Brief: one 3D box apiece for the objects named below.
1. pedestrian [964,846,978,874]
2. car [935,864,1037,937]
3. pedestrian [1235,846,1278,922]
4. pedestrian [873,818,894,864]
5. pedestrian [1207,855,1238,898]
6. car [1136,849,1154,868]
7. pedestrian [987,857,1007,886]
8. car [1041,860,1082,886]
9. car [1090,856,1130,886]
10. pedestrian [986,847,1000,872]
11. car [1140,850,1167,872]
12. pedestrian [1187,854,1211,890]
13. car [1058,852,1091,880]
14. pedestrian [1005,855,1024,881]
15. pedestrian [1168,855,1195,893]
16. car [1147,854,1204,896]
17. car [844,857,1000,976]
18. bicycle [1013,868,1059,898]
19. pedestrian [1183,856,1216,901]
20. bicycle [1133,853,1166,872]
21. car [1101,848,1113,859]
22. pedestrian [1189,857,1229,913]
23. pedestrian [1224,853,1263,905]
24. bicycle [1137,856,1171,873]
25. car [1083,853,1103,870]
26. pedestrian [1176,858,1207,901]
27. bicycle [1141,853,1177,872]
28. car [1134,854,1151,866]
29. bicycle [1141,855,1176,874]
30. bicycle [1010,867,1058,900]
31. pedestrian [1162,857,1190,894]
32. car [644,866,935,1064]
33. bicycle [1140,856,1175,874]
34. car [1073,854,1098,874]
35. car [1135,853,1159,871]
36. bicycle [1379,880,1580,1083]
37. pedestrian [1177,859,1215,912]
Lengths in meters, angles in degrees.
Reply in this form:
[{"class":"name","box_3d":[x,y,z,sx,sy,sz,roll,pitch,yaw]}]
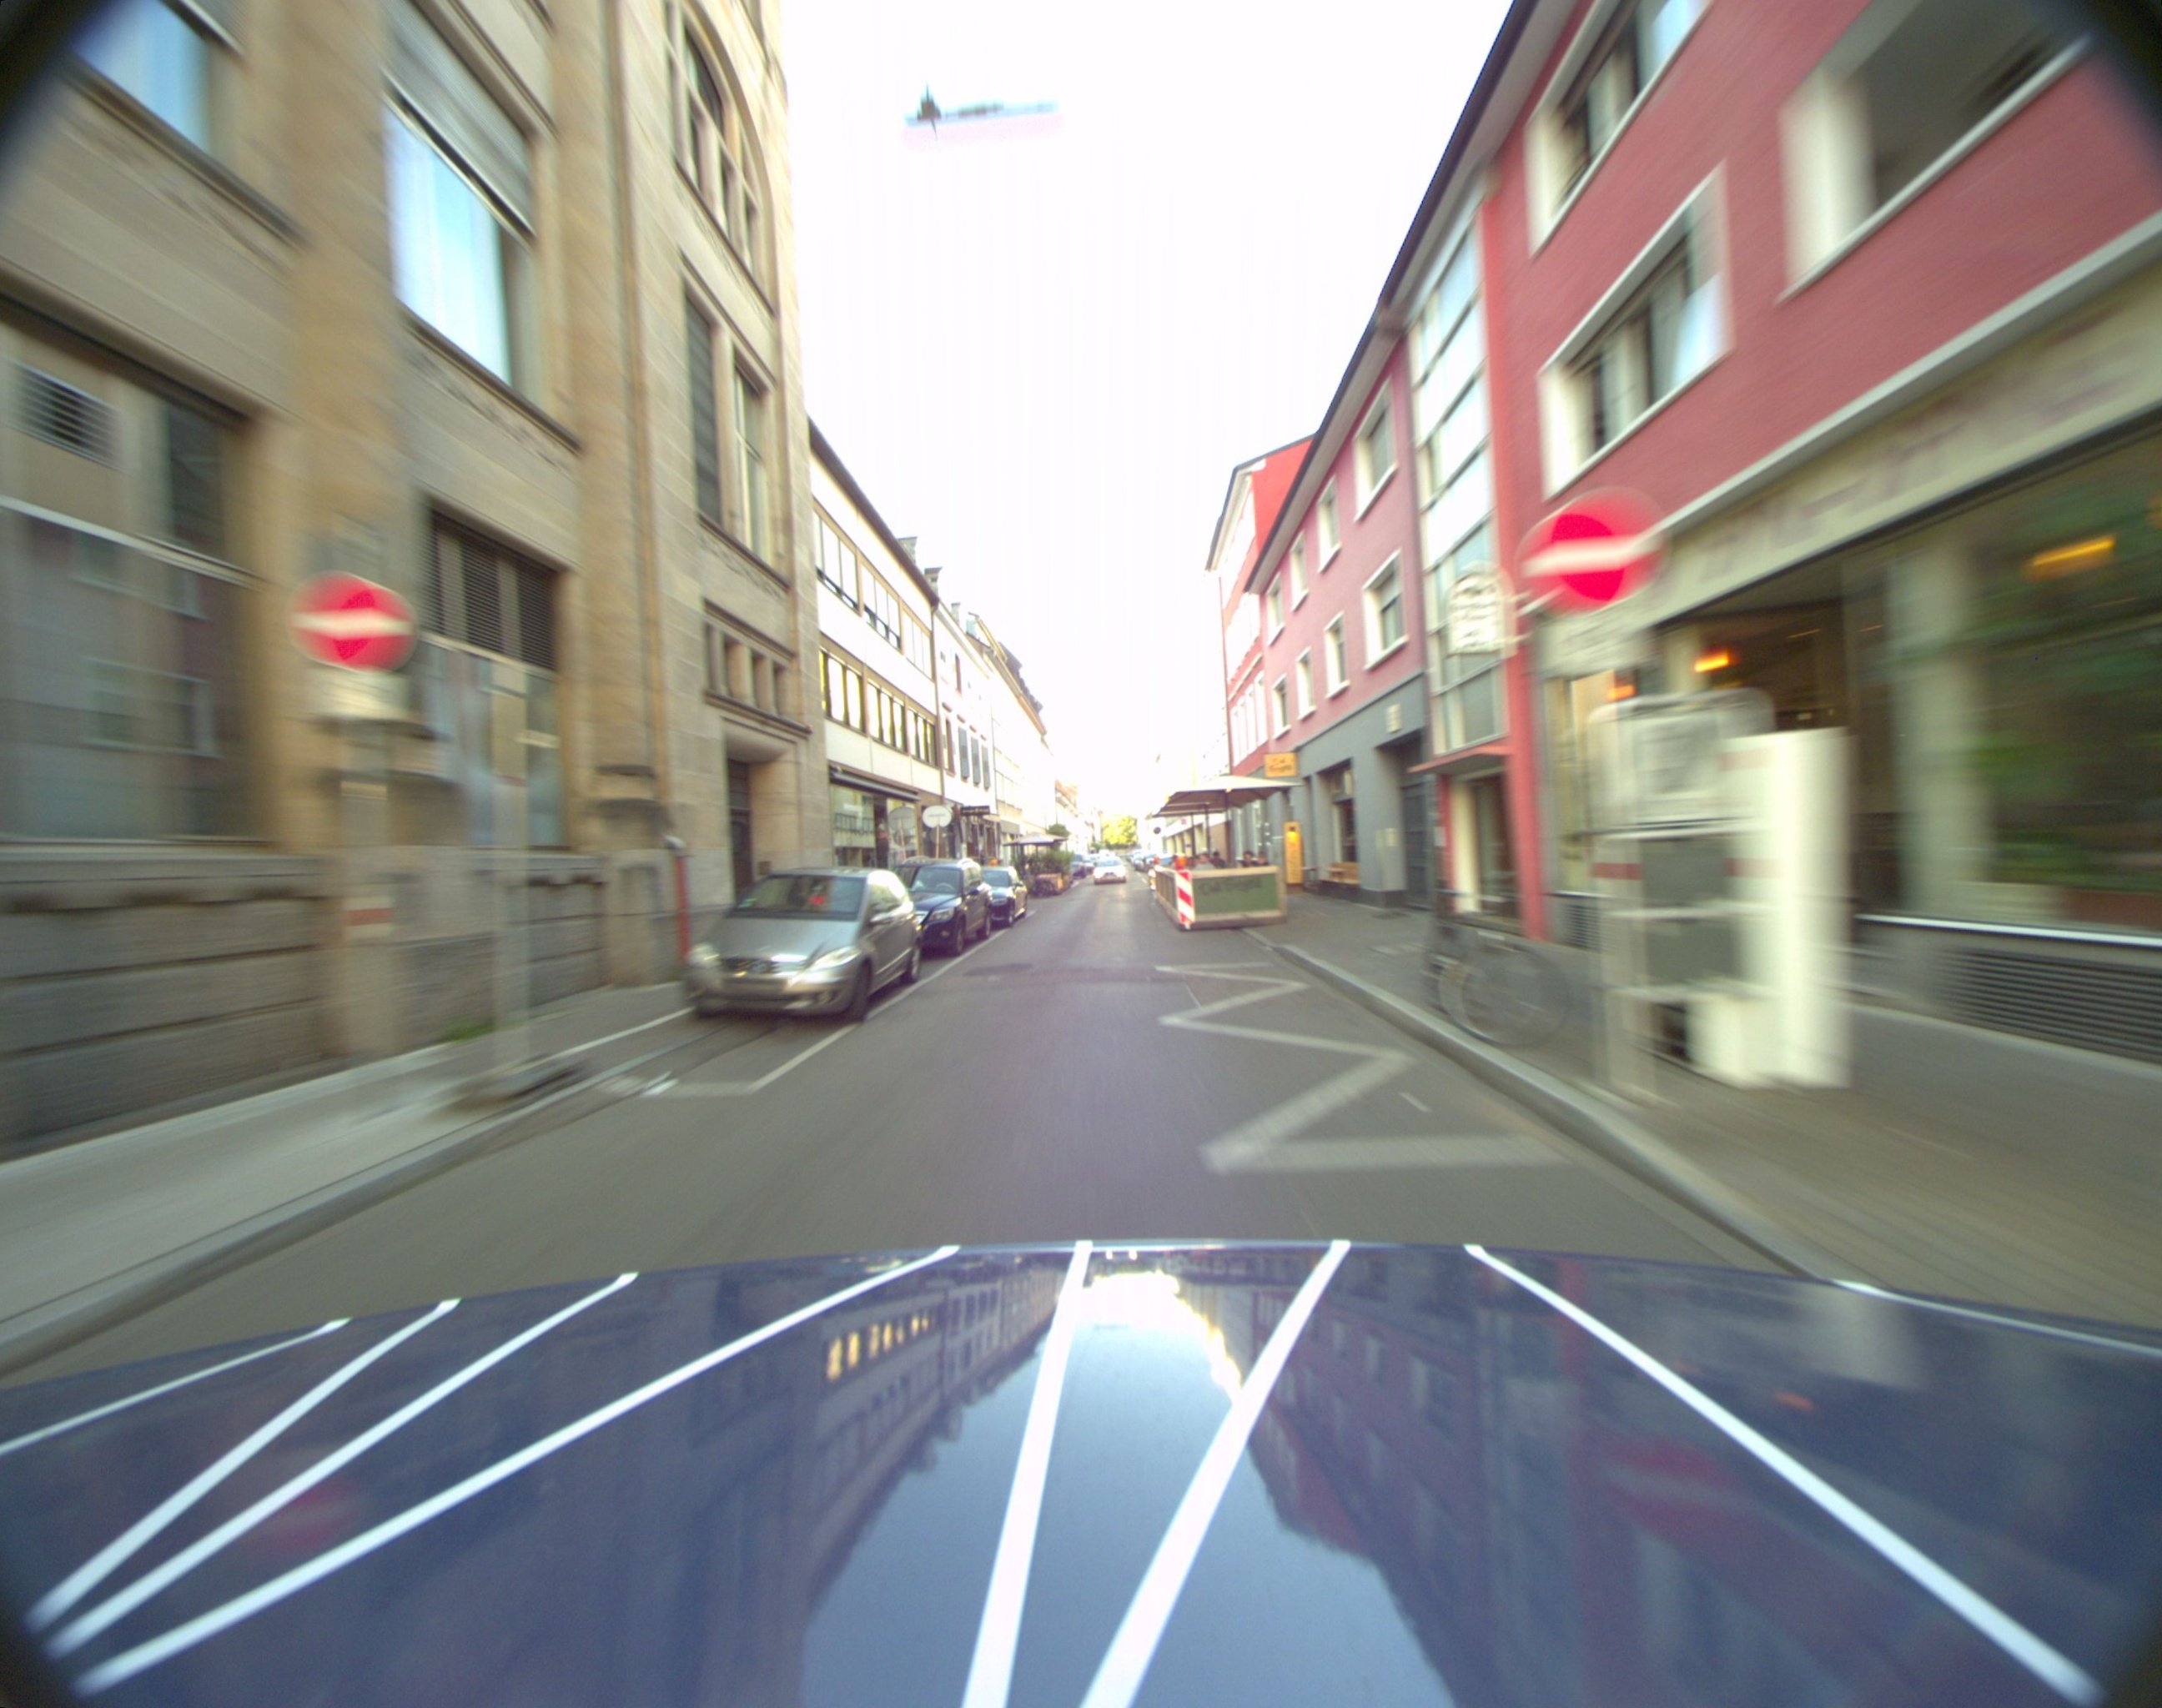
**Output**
[{"class":"pedestrian","box_3d":[-5.089,0.271,35.295,0.467,1.236,0.610,-3,1,3]},{"class":"car","box_3d":[-2.331,1.094,19.928,1.694,1.507,4.991,-4,0,3]},{"class":"pedestrian","box_3d":[3.529,0.590,15.308,0.612,1.464,0.547,-4,1,-5]},{"class":"pedestrian","box_3d":[-5.984,-0.391,23.057,0.437,1.342,0.424,-4,1,0]},{"class":"pedestrian","box_3d":[3.605,0.568,19.383,0.603,1.056,0.547,-4,1,-5]},{"class":"car","box_3d":[7.753,0.530,92.400,1.998,2.029,4.459,-4,0,3]},{"class":"pedestrian","box_3d":[-3.767,0.771,34.264,0.736,1.236,0.646,-3,1,3]},{"class":"car","box_3d":[-1.072,1.060,44.047,1.939,1.288,4.001,-4,0,3]},{"class":"car","box_3d":[1.656,0.914,42.239,1.998,1.413,4.459,-4,0,3]},{"class":"pedestrian","box_3d":[-4.353,0.262,37.590,0.566,1.236,0.610,-3,1,3]},{"class":"car","box_3d":[6.147,0.598,64.712,1.998,1.666,4.459,-4,0,3]},{"class":"pedestrian","box_3d":[3.594,0.545,23.138,0.559,1.031,0.492,-4,1,-5]},{"class":"car","box_3d":[-0.423,0.827,54.317,1.998,1.835,4.001,-4,0,3]},{"class":"pedestrian","box_3d":[-3.321,0.710,38.044,0.736,1.236,0.646,-4,1,5]},{"class":"pedestrian","box_3d":[2.932,0.582,22.200,0.634,1.061,0.560,-4,1,-5]},{"class":"car","box_3d":[3.647,0.783,30.011,1.722,1.452,4.135,-4,0,1]},{"class":"car","box_3d":[-2.819,1.031,14.484,1.674,1.796,4.240,-5,0,4]},{"class":"bicycle","box_3d":[-1.887,1.211,31.895,1.873,1.221,0.596,0,1,3]},{"class":"pedestrian","box_3d":[2.930,0.604,18.844,0.612,1.056,0.547,-4,1,-5]},{"class":"bicycle","box_3d":[5.534,0.658,61.164,2.480,1.322,0.784,-4,1,9]},{"class":"car","box_3d":[4.976,-0.090,146.171,1.998,1.884,4.459,-4,0,3]},{"class":"pedestrian","box_3d":[2.593,0.614,15.393,0.612,1.056,0.547,-4,1,-5]},{"class":"pedestrian","box_3d":[3.468,0.525,16.228,0.612,1.056,0.547,-4,1,-5]},{"class":"bicycle","box_3d":[5.569,0.810,58.292,2.480,1.172,0.784,-4,1,9]},{"class":"car","box_3d":[1.354,0.789,84.936,1.998,1.666,4.459,-4,0,3]},{"class":"pedestrian","box_3d":[2.854,0.656,19.612,0.612,1.056,0.547,-4,1,-5]},{"class":"bicycle","box_3d":[5.565,0.574,54.257,2.480,1.172,0.784,-4,1,9]},{"class":"car","box_3d":[7.847,0.761,97.627,1.998,1.462,4.459,-4,0,3]},{"class":"bicycle","box_3d":[5.631,0.760,55.184,2.480,1.172,0.784,-4,1,9]},{"class":"bicycle","box_3d":[-1.926,1.200,31.213,1.873,1.295,0.596,0,1,3]},{"class":"pedestrian","box_3d":[2.867,0.651,22.982,0.673,1.056,0.547,-4,1,-5]},{"class":"car","box_3d":[-3.059,1.055,8.981,1.778,1.656,4.000,-3,0,0]},{"class":"bicycle","box_3d":[5.641,0.825,55.995,2.480,1.172,0.784,-4,1,9]},{"class":"car","box_3d":[0.465,0.880,69.981,1.998,1.666,4.459,-4,0,3]},{"class":"car","box_3d":[6.065,0.715,70.339,1.998,1.462,4.459,-4,0,3]},{"class":"bicycle","box_3d":[2.855,0.831,5.675,0.545,1.185,1.842,-4,0,3]},{"class":"pedestrian","box_3d":[2.425,0.664,16.079,0.612,1.056,0.547,-4,1,-5]}]
